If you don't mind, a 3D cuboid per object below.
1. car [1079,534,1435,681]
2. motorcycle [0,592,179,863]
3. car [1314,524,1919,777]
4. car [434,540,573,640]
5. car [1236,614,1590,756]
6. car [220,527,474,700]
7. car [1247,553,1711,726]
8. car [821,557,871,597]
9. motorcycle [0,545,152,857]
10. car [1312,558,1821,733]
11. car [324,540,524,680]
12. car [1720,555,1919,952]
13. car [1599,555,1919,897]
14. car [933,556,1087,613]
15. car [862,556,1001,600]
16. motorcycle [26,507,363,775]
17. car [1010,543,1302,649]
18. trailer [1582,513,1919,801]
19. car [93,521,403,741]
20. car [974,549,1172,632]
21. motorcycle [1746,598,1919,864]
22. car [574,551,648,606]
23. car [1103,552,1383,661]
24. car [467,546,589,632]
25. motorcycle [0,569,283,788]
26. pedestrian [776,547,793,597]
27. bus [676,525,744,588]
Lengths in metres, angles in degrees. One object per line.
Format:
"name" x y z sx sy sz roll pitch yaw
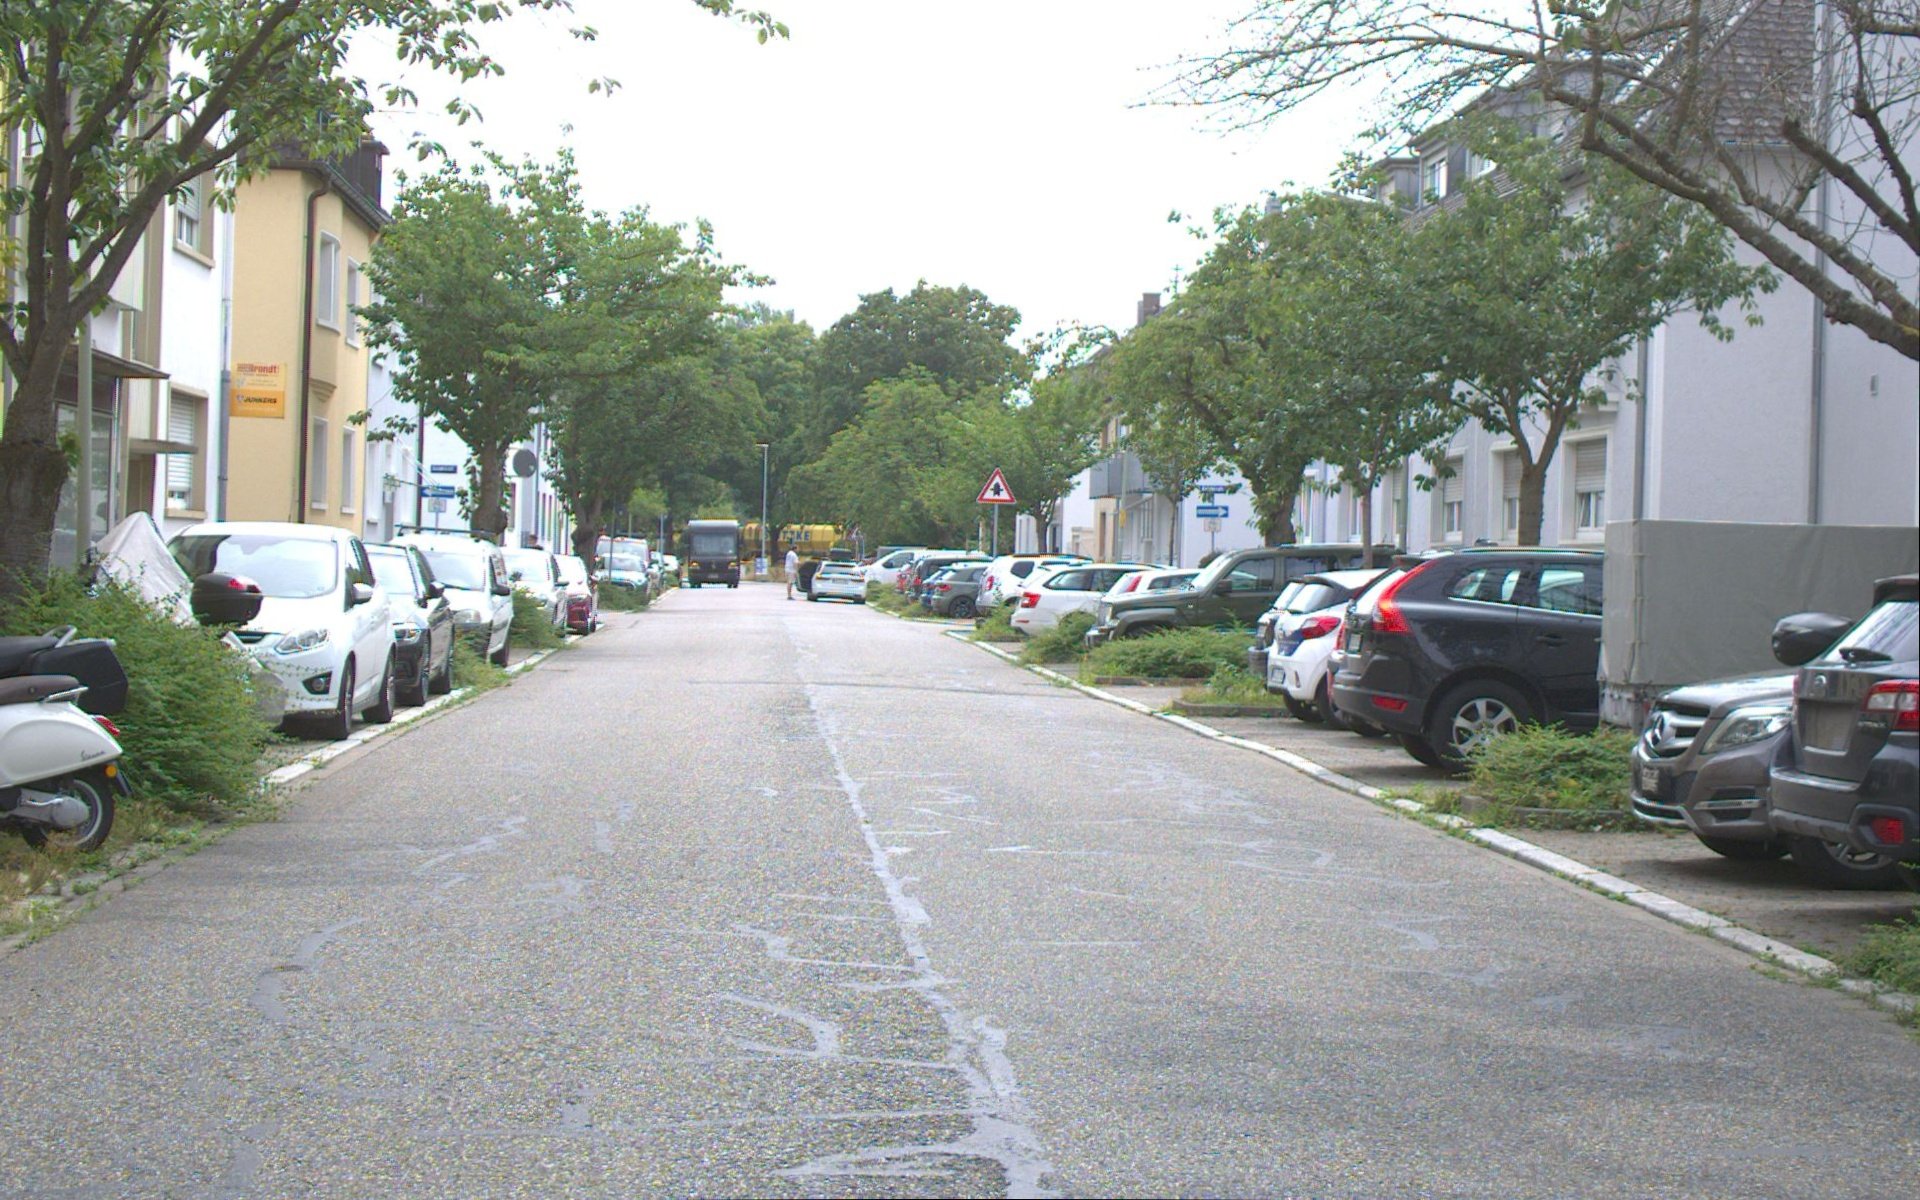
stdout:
"car" 3.887 0.084 45.511 4.525 1.852 1.793 -1 0 -1
"motorcycle" -4.531 0.574 15.412 1.905 1.187 0.597 -1 0 -30
"car" 4.820 0.346 25.145 4.214 1.730 1.904 -1 0 -1
"car" -7.481 -0.174 56.686 1.771 1.387 4.275 7 0 -3
"car" 4.938 0.915 37.757 3.542 1.448 1.809 -1 0 -4
"car" -5.807 0.122 33.077 1.790 1.487 4.812 2 0 -3
"car" 4.851 0.354 32.416 3.986 1.525 1.768 -1 0 -6
"car" -3.915 -0.787 117.996 1.687 1.349 3.827 -1 0 -2
"motorcycle" -5.044 0.487 16.375 2.231 1.476 0.597 -1 0 -30
"car" 5.199 0.370 29.765 3.986 1.405 1.768 -1 0 -6
"car" -6.393 0.094 41.398 1.918 1.576 4.383 -1 0 -3
"car" 5.665 0.581 14.939 4.214 1.592 1.904 -1 0 -5
"car" 5.548 0.562 17.269 4.214 1.592 1.904 -1 0 -5
"car" 1.238 -0.391 86.174 3.747 1.361 1.773 -1 0 -2
"car" -1.049 -0.815 126.445 4.974 1.513 1.769 -1 0 -5
"motorcycle" -5.097 0.237 22.769 2.472 1.670 0.936 2 1 44
"car" 3.193 -0.080 56.594 4.614 1.658 1.893 -1 0 -2
"trailer" 5.743 0.355 22.806 2.961 1.825 1.401 -1 0 0
"car" -5.436 0.205 26.719 1.757 1.551 4.256 1 0 -4
"car" 2.288 -0.207 70.479 3.923 1.627 1.868 -1 0 -2
"motorcycle" 5.527 0.716 18.865 2.225 1.404 0.715 1 1 -5
"car" -10.177 -0.632 100.426 1.763 1.549 3.731 -1 0 0
"car" 3.953 0.079 48.397 3.624 1.449 1.773 -1 0 -7
"car" -7.757 -0.208 62.065 1.877 1.481 4.513 -1 0 -3
"motorcycle" -5.453 0.479 21.119 2.448 1.307 0.643 -1 0 -2
"pedestrian" -5.984 -0.945 117.095 0.522 1.698 0.444 -1 0 0
"bus" -11.443 -1.970 157.575 3.003 2.752 8.925 -1 0 -4
